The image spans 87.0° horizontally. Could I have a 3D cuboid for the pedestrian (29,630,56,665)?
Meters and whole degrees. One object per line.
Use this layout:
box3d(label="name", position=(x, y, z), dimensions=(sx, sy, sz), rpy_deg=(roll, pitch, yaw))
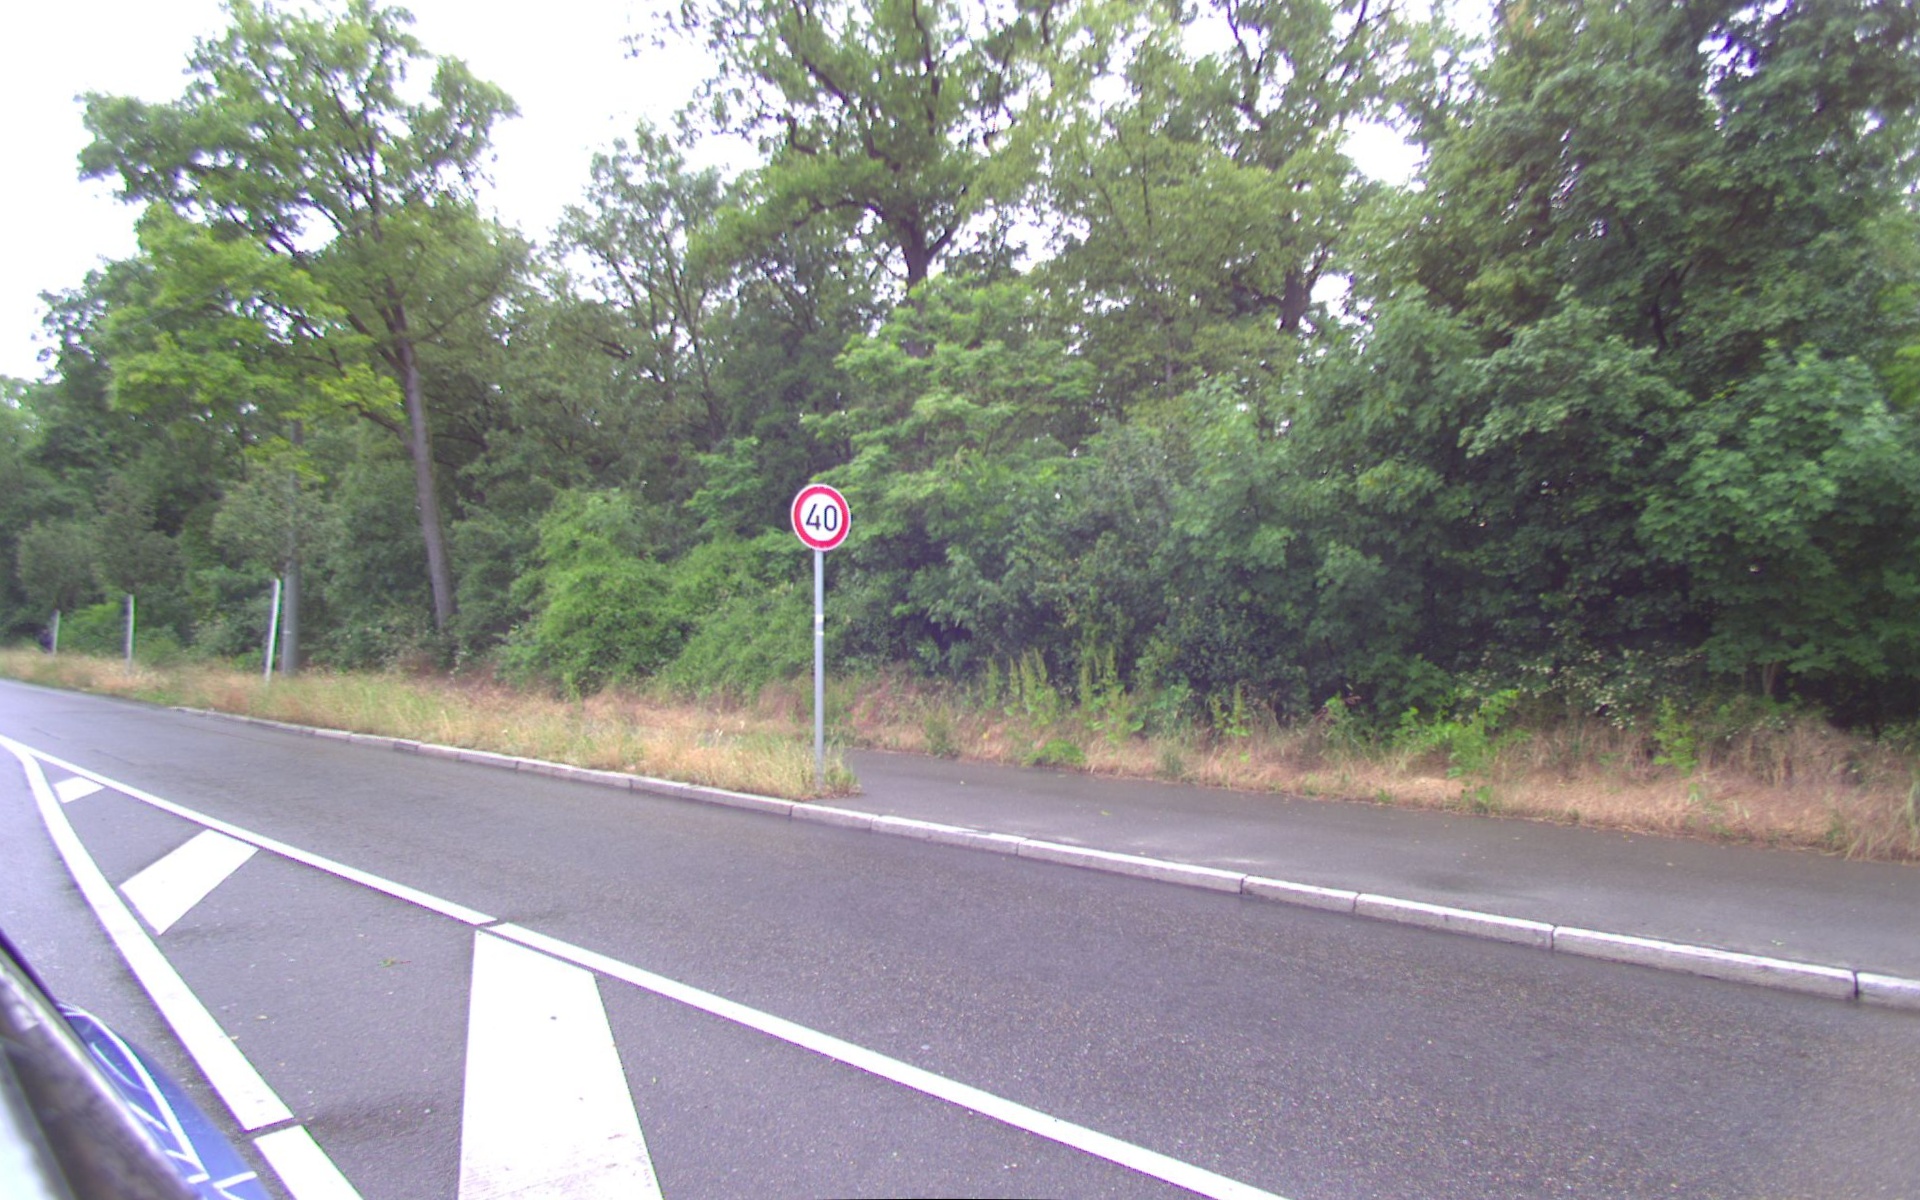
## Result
box3d(label="pedestrian", position=(-42.590, 2.213, 46.988), dimensions=(0.731, 1.620, 0.773), rpy_deg=(-2, -3, 38))
